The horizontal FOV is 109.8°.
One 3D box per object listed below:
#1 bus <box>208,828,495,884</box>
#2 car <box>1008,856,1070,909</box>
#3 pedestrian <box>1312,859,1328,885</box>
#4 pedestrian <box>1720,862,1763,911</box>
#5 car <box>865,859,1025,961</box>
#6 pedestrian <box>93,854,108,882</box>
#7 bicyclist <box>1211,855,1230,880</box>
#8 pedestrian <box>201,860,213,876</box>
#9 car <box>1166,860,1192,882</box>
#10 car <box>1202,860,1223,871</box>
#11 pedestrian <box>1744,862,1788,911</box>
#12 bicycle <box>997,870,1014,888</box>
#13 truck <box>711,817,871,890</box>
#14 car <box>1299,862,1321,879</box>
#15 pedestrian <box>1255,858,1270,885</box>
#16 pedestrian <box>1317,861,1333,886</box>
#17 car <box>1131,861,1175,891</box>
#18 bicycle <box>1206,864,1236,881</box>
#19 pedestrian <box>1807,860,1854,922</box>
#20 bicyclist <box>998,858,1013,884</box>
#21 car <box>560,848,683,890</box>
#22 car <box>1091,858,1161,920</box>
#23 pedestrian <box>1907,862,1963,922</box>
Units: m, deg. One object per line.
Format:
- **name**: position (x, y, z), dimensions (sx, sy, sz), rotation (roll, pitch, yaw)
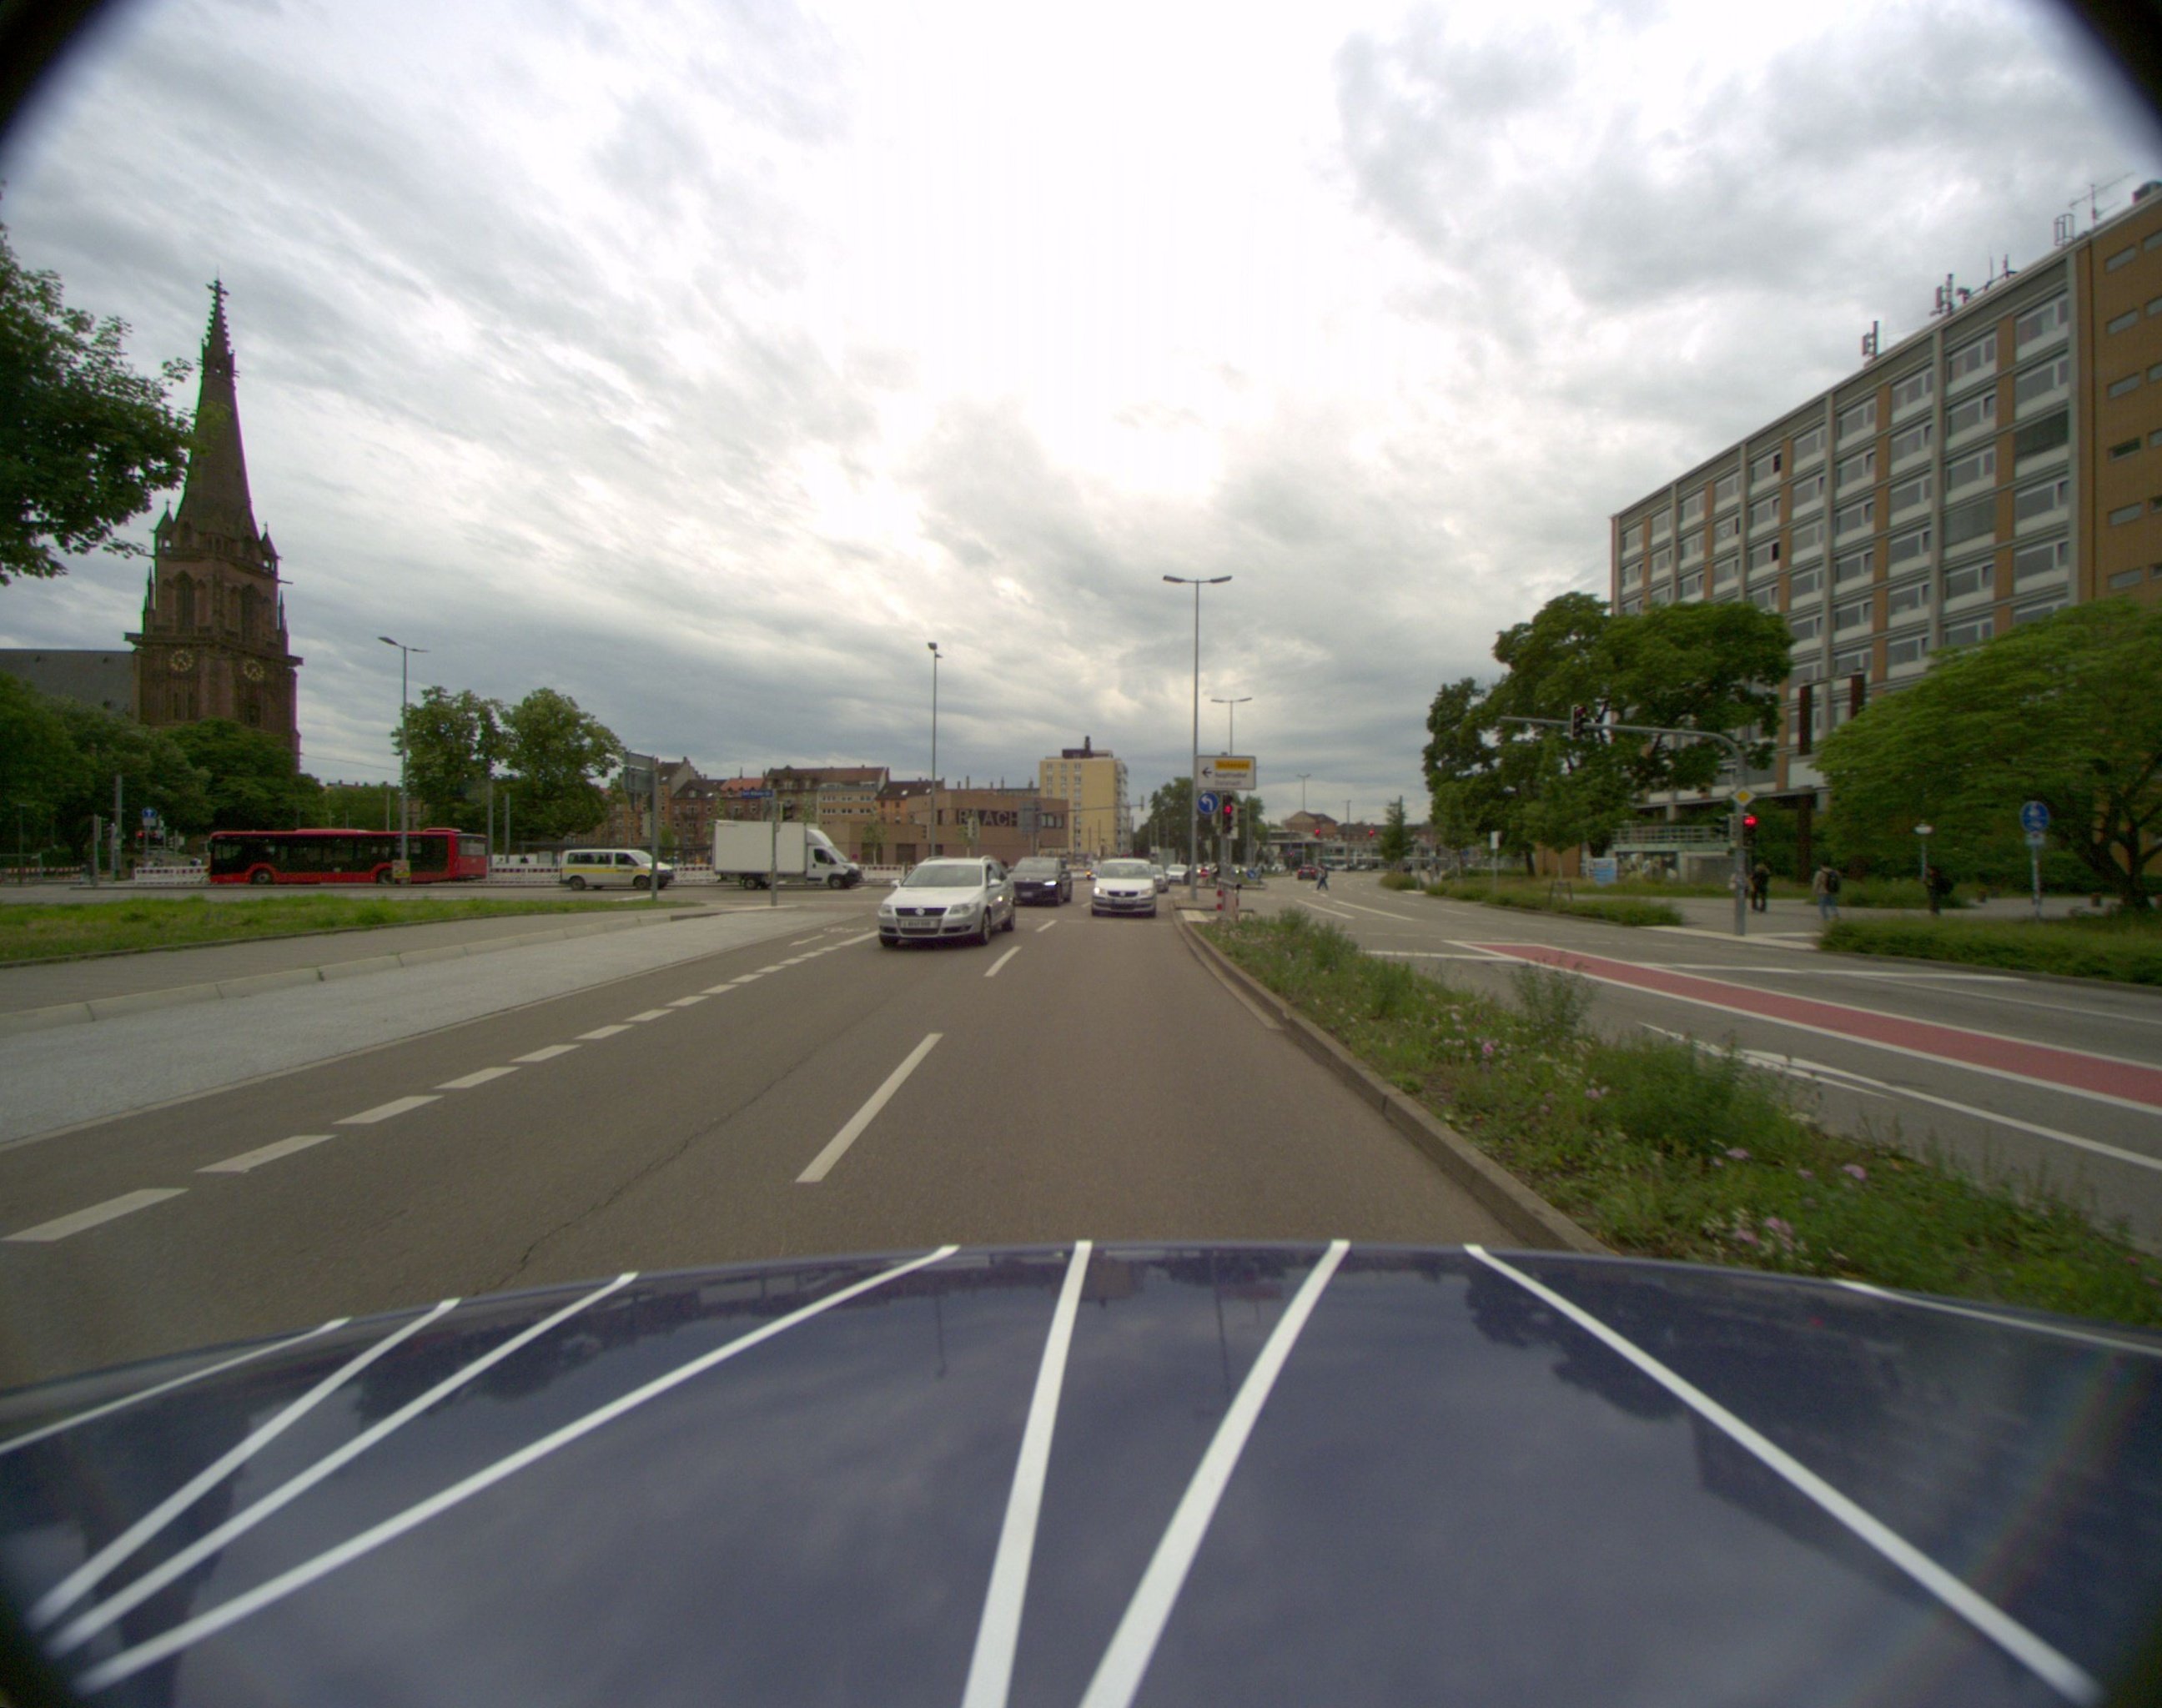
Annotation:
- **bus**: position (-38.901, 0.086, 40.881), dimensions (12.091, 2.890, 2.937), rotation (0, 0, -3)
- **car**: position (-1.347, 0.894, 26.114), dimensions (1.912, 1.615, 4.490), rotation (-1, 0, -1)
- **pedestrian**: position (16.662, 1.250, 53.006), dimensions (0.769, 1.794, 0.739), rotation (2, 0, -22)
- **pedestrian**: position (22.816, 1.120, 26.258), dimensions (0.708, 1.661, 0.943), rotation (0, 0, 4)
- **car**: position (-2.278, 0.882, 13.982), dimensions (1.829, 1.541, 4.529), rotation (0, 0, 4)
- **pedestrian**: position (-59.839, 0.863, 46.376), dimensions (0.373, 1.695, 0.372), rotation (2, 0, 0)
- **bicyclist**: position (10.009, 0.972, 54.408), dimensions (1.191, 1.725, 0.807), rotation (2, 0, 2)
- **pedestrian**: position (-62.774, 0.999, 54.575), dimensions (0.373, 1.189, 0.372), rotation (2, 0, 0)
- **car**: position (7.099, 1.221, 54.889), dimensions (1.785, 1.454, 3.873), rotation (-1, 0, 8)
- **car**: position (17.397, 1.531, 100.513), dimensions (1.816, 1.466, 4.040), rotation (2, 0, 22)
- **pedestrian**: position (23.608, 1.114, 26.193), dimensions (0.708, 1.661, 0.890), rotation (-1, 0, 4)
- **bicycle**: position (-4.919, 1.597, 49.533), dimensions (0.693, 1.123, 1.869), rotation (2, 0, 7)
- **truck**: position (-14.076, -0.069, 37.307), dimensions (6.852, 3.392, 2.559), rotation (0, 2, -5)
- **car**: position (24.701, 1.796, 81.909), dimensions (1.812, 1.657, 3.956), rotation (2, 1, 23)
- **pedestrian**: position (12.122, 1.159, 50.706), dimensions (0.917, 1.794, 0.541), rotation (2, 0, 17)
- **pedestrian**: position (16.161, 1.280, 50.342), dimensions (0.777, 1.657, 0.706), rotation (2, 0, -8)
- **car**: position (3.734, 1.087, 38.901), dimensions (1.725, 1.405, 4.250), rotation (-1, -1, 12)
- **bicycle**: position (10.007, 1.321, 54.445), dimensions (2.005, 1.136, 0.807), rotation (2, 0, 2)
- **pedestrian**: position (22.034, 1.073, 22.349), dimensions (0.638, 1.790, 0.762), rotation (0, 0, 4)
- **bicyclist**: position (-4.909, 1.100, 49.526), dimensions (0.693, 1.626, 0.885), rotation (2, 0, 7)
- **car**: position (-22.072, 0.691, 36.639), dimensions (4.711, 1.908, 1.920), rotation (0, 2, -1)
- **car**: position (1.202, 0.912, 21.898), dimensions (1.734, 1.593, 4.105), rotation (-1, 0, -1)
- **pedestrian**: position (23.249, 1.021, 20.690), dimensions (0.635, 1.603, 0.829), rotation (-1, 0, -21)
